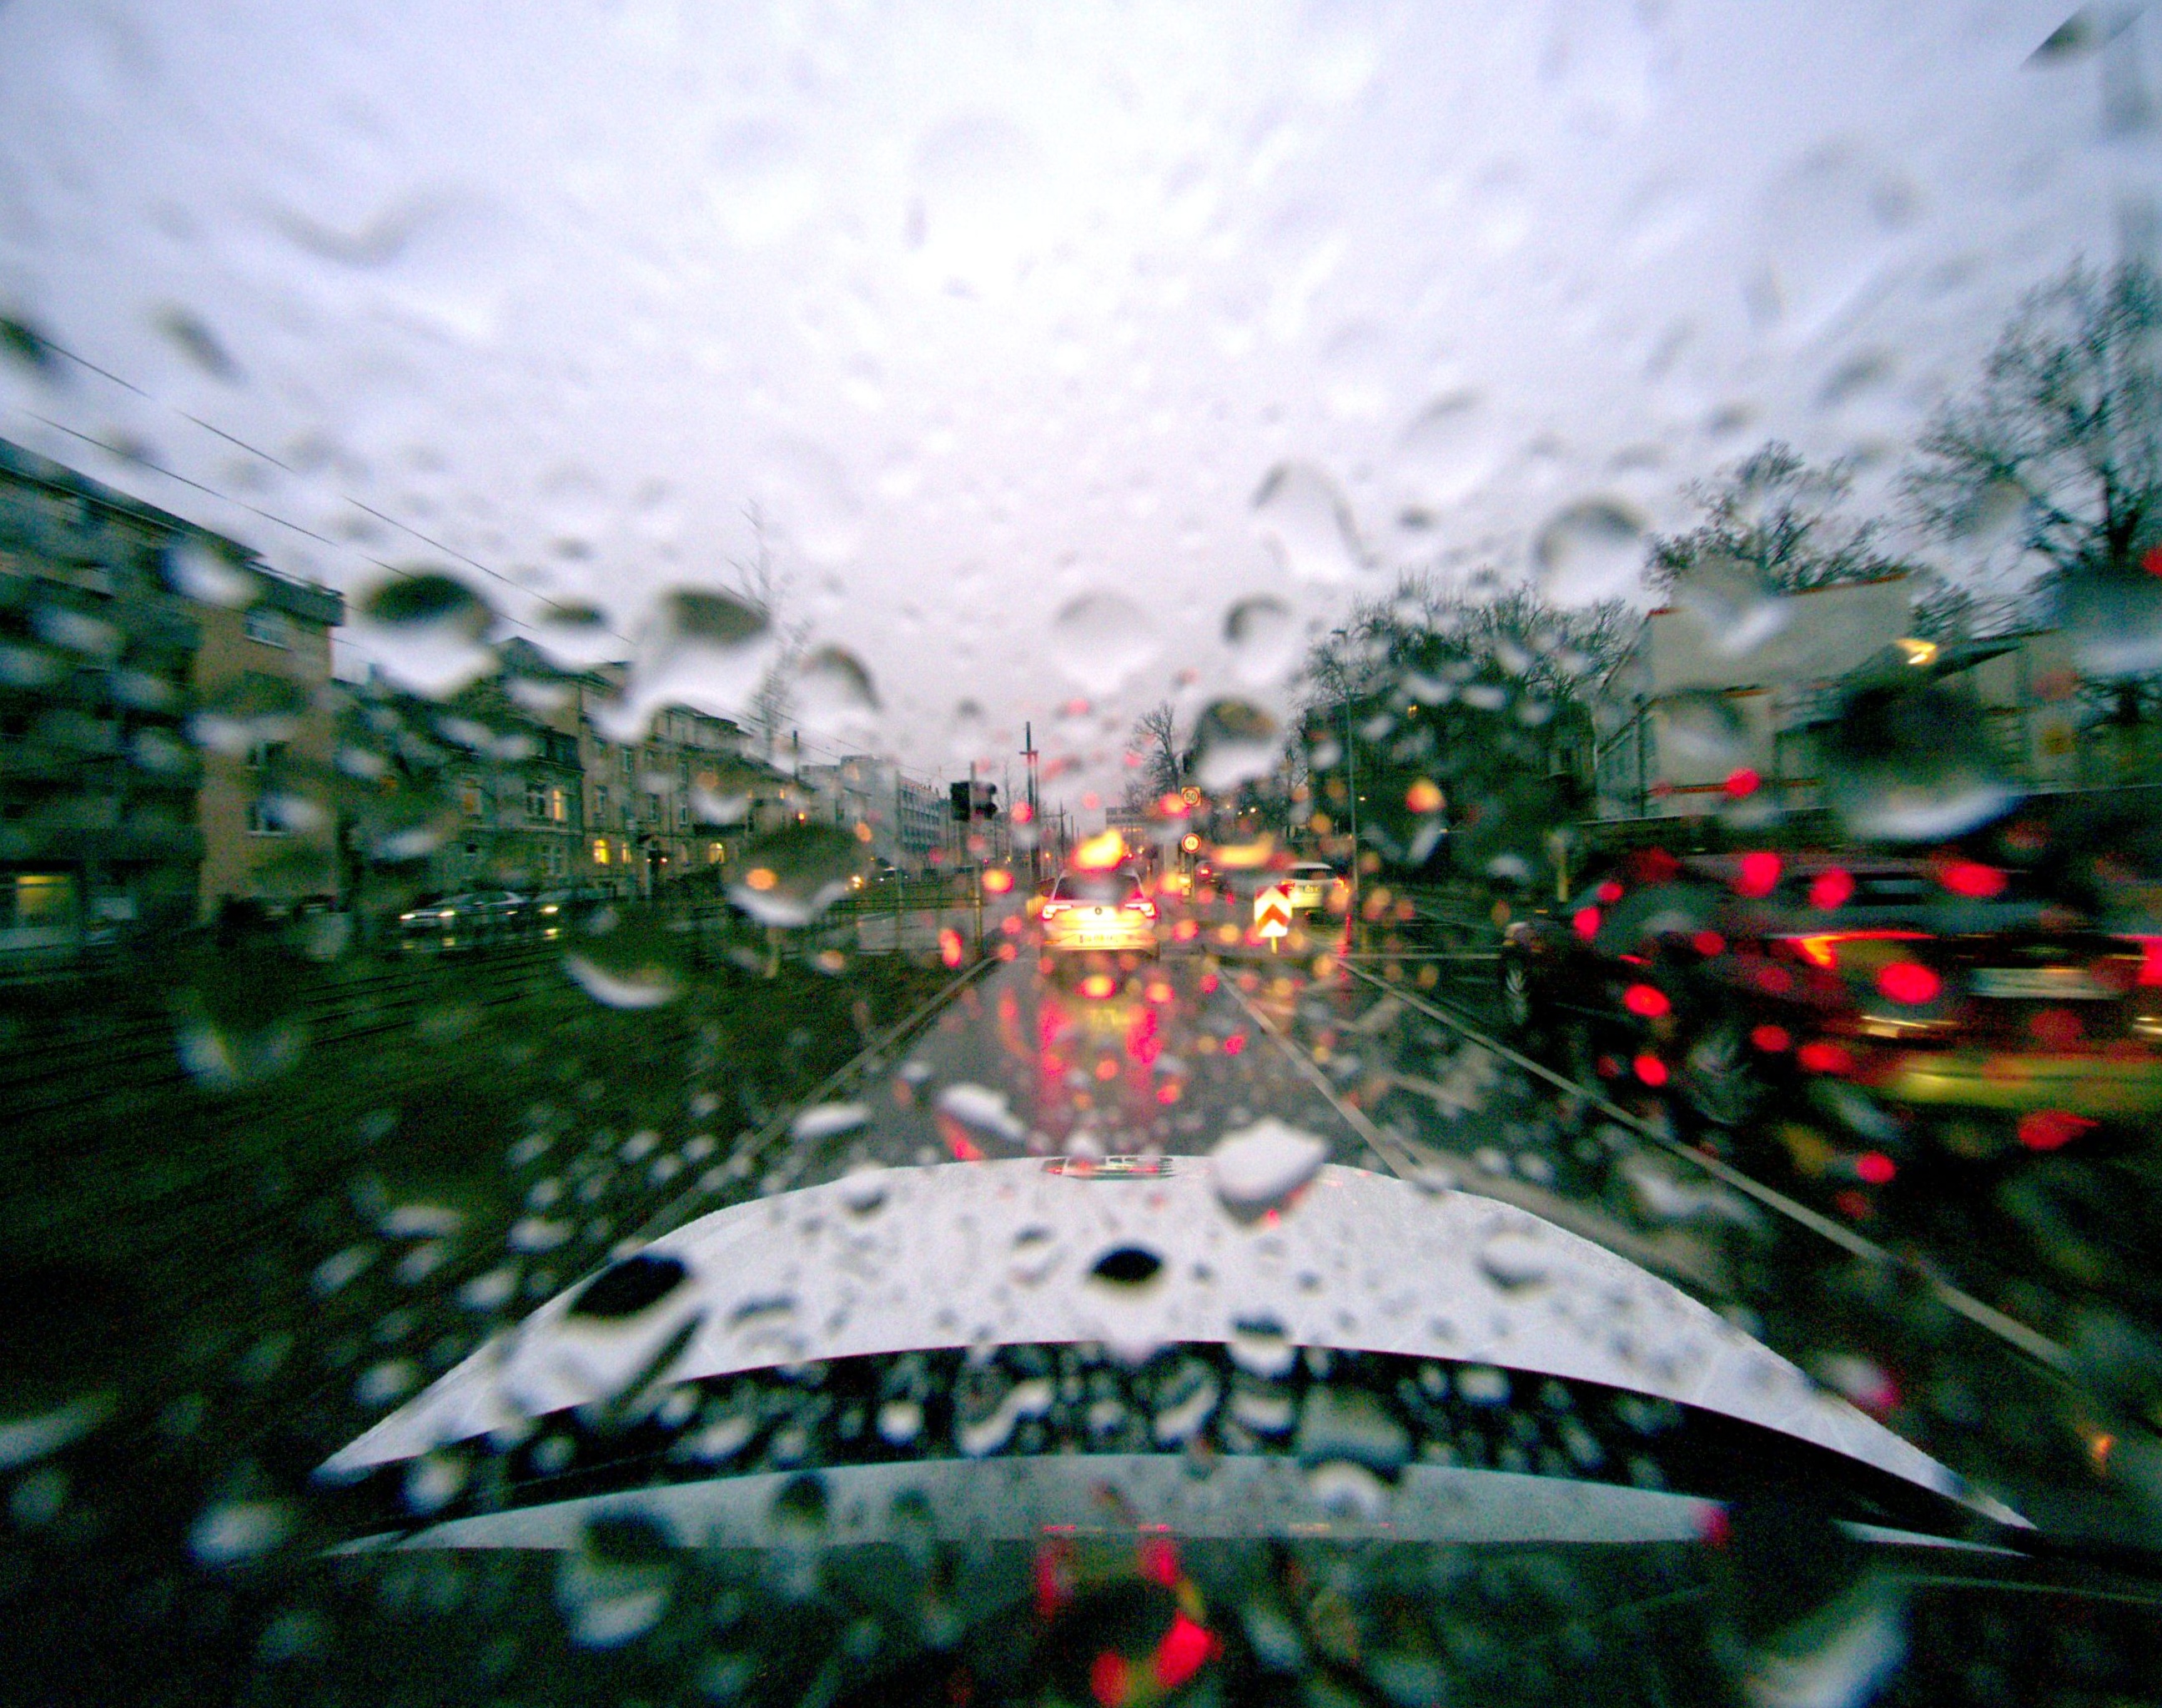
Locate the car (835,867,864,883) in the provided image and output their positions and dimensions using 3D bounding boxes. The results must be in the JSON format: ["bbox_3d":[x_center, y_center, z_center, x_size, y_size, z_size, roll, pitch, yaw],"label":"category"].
[{"bbox_3d":[-25.876,2.346,91.221,1.988,1.692,4.109,-3,0,-1],"label":"car"}]

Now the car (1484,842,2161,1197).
[{"bbox_3d":[4.307,0.731,5.455,1.713,1.479,4.009,0,-1,8],"label":"car"}]

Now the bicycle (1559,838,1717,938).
[{"bbox_3d":[9.921,0.587,14.573,2.219,1.657,0.694,-1,-2,45],"label":"bicycle"}]

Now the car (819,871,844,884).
[{"bbox_3d":[-29.906,2.820,97.844,1.801,1.436,3.925,-3,0,-1],"label":"car"}]

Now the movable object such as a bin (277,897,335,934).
[{"bbox_3d":[-33.821,2.665,35.568,1.104,1.480,1.424,-3,0,-1],"label":"movable object such as a bin"}]

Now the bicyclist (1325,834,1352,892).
[{"bbox_3d":[8.146,0.278,25.783,0.498,1.767,0.837,-2,-1,-1],"label":"bicyclist"}]

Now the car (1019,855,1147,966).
[{"bbox_3d":[0.110,0.812,12.968,1.715,1.479,4.002,0,-1,2],"label":"car"}]

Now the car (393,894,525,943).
[{"bbox_3d":[-23.148,2.345,30.529,1.795,1.585,4.000,0,-1,1],"label":"car"}]

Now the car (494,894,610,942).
[{"bbox_3d":[-20.217,2.404,31.340,1.795,1.585,4.000,0,-1,1],"label":"car"}]

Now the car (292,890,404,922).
[{"bbox_3d":[-37.312,2.631,41.523,3.975,1.406,1.833,-2,0,-1],"label":"car"}]

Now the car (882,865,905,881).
[{"bbox_3d":[-24.817,2.445,107.938,1.988,1.933,4.909,-3,0,-1],"label":"car"}]

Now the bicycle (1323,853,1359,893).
[{"bbox_3d":[8.132,0.588,25.563,0.410,1.185,2.028,-2,0,-1],"label":"bicycle"}]

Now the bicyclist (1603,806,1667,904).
[{"bbox_3d":[9.903,0.024,14.554,0.807,1.679,0.702,-3,-1,41],"label":"bicyclist"}]

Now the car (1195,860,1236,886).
[{"bbox_3d":[6.893,0.972,42.038,1.617,1.299,4.002,0,-1,2],"label":"car"}]

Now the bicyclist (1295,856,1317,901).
[{"bbox_3d":[8.215,0.891,29.759,0.498,1.591,0.837,-2,-1,-1],"label":"bicyclist"}]

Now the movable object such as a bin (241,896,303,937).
[{"bbox_3d":[-33.785,2.597,34.029,1.104,1.561,1.424,-3,0,-1],"label":"movable object such as a bin"}]

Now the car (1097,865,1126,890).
[{"bbox_3d":[1.912,1.444,50.086,1.715,1.479,4.002,0,-1,2],"label":"car"}]

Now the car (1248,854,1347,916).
[{"bbox_3d":[5.593,0.776,21.545,1.715,1.479,4.002,0,-1,2],"label":"car"}]
